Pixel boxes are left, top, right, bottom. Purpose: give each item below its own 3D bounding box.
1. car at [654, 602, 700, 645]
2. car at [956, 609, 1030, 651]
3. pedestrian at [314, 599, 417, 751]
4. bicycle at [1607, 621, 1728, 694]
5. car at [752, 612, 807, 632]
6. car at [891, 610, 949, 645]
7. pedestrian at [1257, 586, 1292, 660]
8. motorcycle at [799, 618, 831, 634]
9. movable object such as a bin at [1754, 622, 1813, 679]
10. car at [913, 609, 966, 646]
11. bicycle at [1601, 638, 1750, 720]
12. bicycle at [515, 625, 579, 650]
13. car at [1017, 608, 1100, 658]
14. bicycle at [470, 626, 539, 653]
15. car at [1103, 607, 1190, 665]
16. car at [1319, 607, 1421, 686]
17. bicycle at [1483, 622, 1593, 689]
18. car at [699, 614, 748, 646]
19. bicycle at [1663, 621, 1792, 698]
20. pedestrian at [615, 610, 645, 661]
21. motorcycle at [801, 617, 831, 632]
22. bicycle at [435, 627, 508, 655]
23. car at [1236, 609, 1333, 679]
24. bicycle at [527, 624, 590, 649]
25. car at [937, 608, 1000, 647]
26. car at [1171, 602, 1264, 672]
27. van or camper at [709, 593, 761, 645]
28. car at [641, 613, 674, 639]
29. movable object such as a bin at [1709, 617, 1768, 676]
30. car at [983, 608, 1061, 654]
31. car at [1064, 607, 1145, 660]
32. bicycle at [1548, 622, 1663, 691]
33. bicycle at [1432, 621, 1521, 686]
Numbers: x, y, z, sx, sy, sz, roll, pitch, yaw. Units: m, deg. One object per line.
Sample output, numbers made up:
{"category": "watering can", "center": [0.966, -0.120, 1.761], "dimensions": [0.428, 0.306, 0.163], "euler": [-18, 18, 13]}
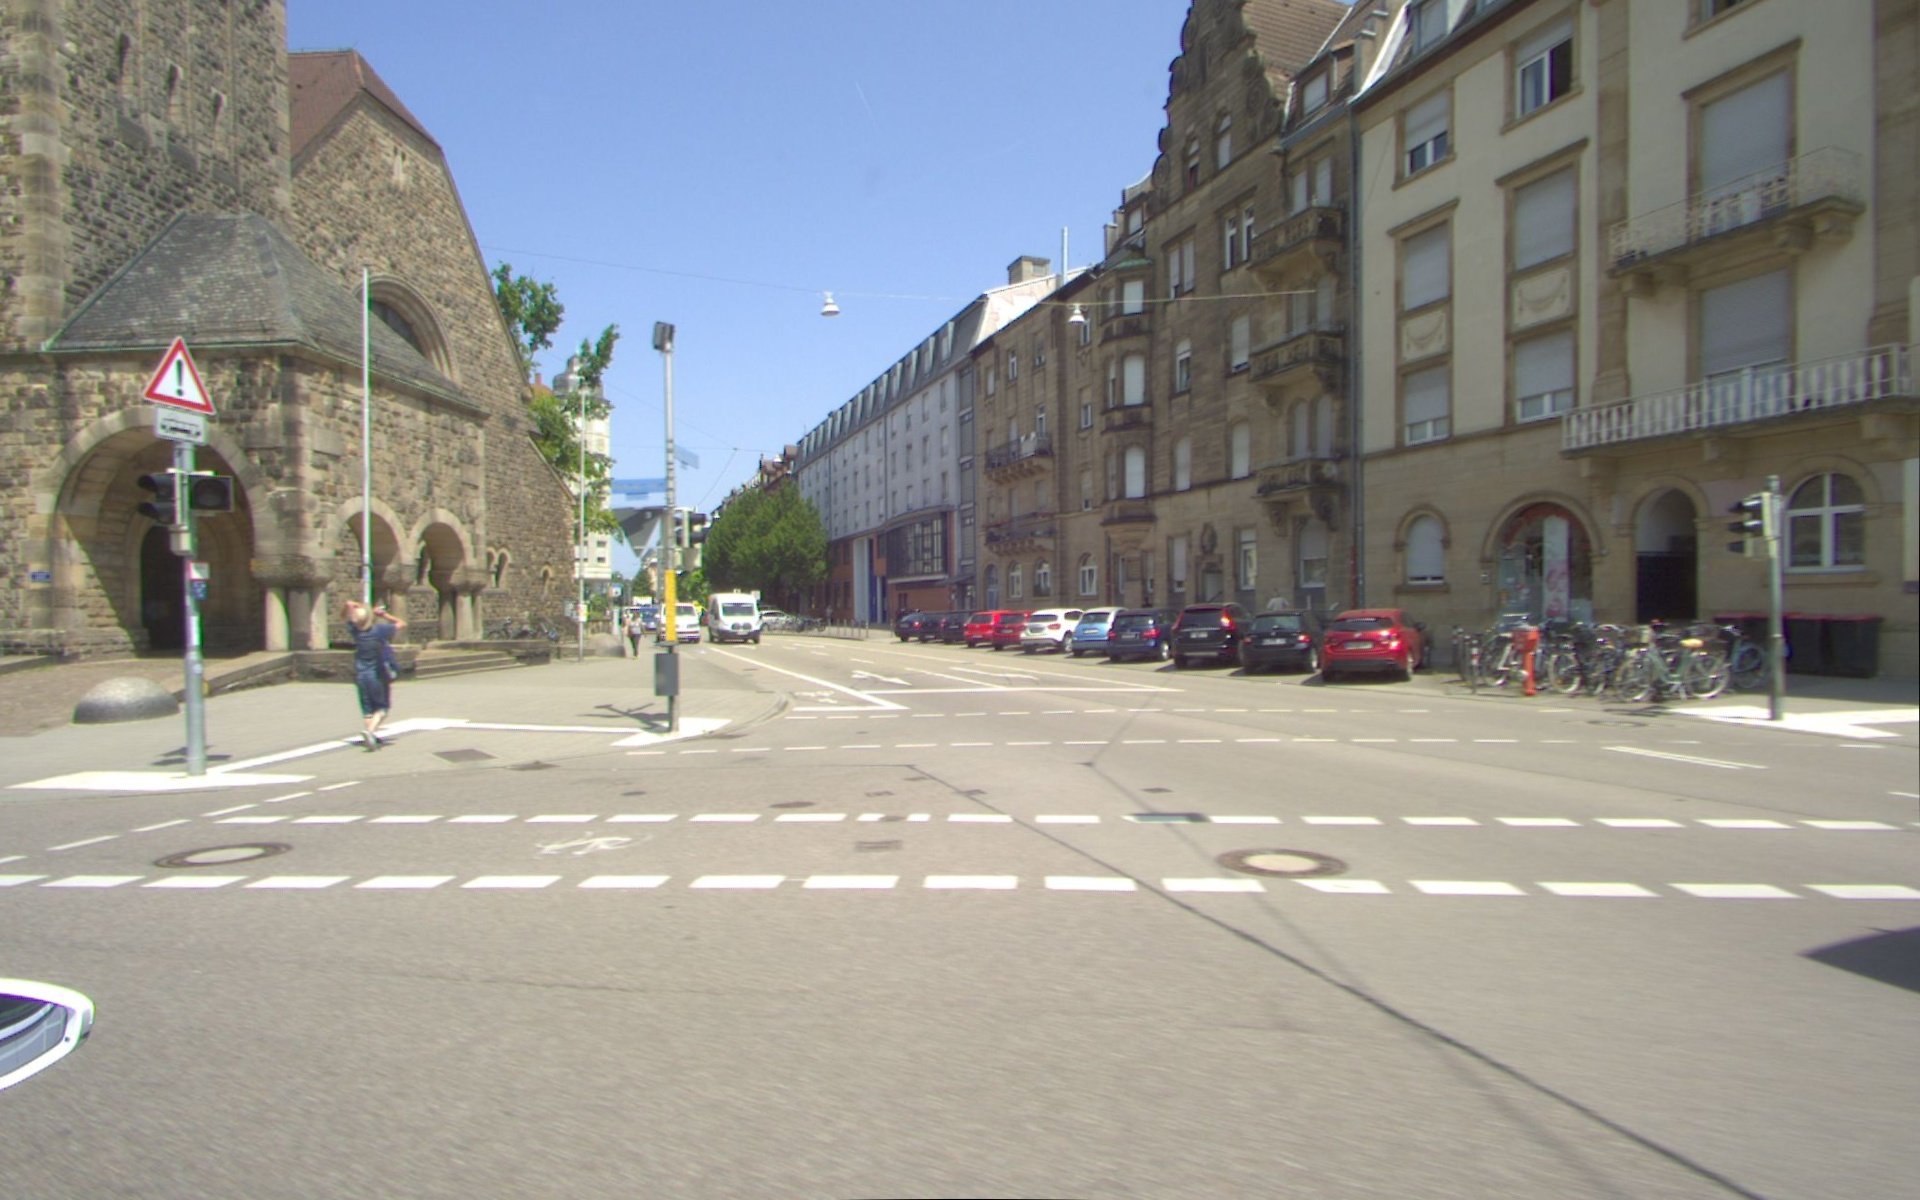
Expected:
{"category": "car", "center": [-14.226, 1.163, 50.176], "dimensions": [2.009, 2.031, 4.958], "euler": [0, -1, -18]}
{"category": "car", "center": [1.427, 1.243, 42.059], "dimensions": [1.595, 1.595, 3.207], "euler": [-3, -1, 34]}
{"category": "pedestrian", "center": [-7.463, 0.925, 12.586], "dimensions": [0.818, 1.846, 0.744], "euler": [-1, 0, 11]}
{"category": "bicycle", "center": [12.215, 0.978, 17.305], "dimensions": [1.770, 1.166, 0.565], "euler": [-2, 0, -7]}
{"category": "car", "center": [-13.928, 1.690, 77.401], "dimensions": [3.961, 1.569, 1.733], "euler": [1, -1, -44]}
{"category": "car", "center": [-1.990, 1.362, 50.202], "dimensions": [1.590, 1.595, 3.217], "euler": [-3, -1, 23]}
{"category": "pedestrian", "center": [9.393, 0.681, 29.937], "dimensions": [0.850, 2.141, 1.100], "euler": [0, 0, 11]}
{"category": "motorcycle", "center": [-9.784, 1.767, 67.615], "dimensions": [2.037, 0.971, 0.742], "euler": [-1, 2, -4]}
{"category": "movable object such as a bin", "center": [14.875, 0.904, 18.089], "dimensions": [0.572, 1.008, 0.590], "euler": [-1, -1, -12]}
{"category": "car", "center": [-0.939, 1.282, 47.584], "dimensions": [1.470, 1.595, 3.220], "euler": [-3, -1, 19]}
{"category": "bicycle", "center": [11.180, 1.220, 15.666], "dimensions": [2.021, 1.166, 0.565], "euler": [-2, 0, -7]}
{"category": "bicycle", "center": [-17.253, 1.557, 41.847], "dimensions": [2.450, 1.025, 0.706], "euler": [0, 0, 6]}
{"category": "car", "center": [3.596, 1.173, 36.292], "dimensions": [1.595, 1.595, 3.207], "euler": [-3, -1, 34]}
{"category": "bicycle", "center": [-17.939, 1.543, 39.485], "dimensions": [2.450, 1.025, 0.706], "euler": [0, 0, 6]}
{"category": "car", "center": [5.729, 1.072, 30.577], "dimensions": [1.593, 1.595, 3.211], "euler": [-3, -1, 30]}
{"category": "car", "center": [8.927, 0.969, 21.688], "dimensions": [1.593, 1.498, 3.211], "euler": [-3, -1, 30]}
{"category": "bicycle", "center": [10.830, 1.030, 18.789], "dimensions": [1.770, 1.166, 0.565], "euler": [-2, 0, -7]}
{"category": "car", "center": [-11.875, 1.468, 50.110], "dimensions": [1.966, 1.476, 3.990], "euler": [0, -1, -20]}
{"category": "bicycle", "center": [12.590, 0.963, 16.446], "dimensions": [1.770, 1.166, 0.565], "euler": [-2, 0, -7]}
{"category": "pedestrian", "center": [-10.468, 1.131, 31.802], "dimensions": [0.707, 1.579, 0.792], "euler": [-1, -1, -3]}
{"category": "motorcycle", "center": [-10.033, 1.678, 69.839], "dimensions": [2.037, 0.971, 0.607], "euler": [-1, 2, -4]}
{"category": "bicycle", "center": [-18.320, 1.529, 37.565], "dimensions": [2.450, 1.025, 0.706], "euler": [0, 0, 6]}
{"category": "car", "center": [8.000, 1.036, 24.520], "dimensions": [1.593, 1.498, 3.211], "euler": [-3, -1, 30]}
{"category": "bicycle", "center": [-17.222, 1.553, 42.931], "dimensions": [2.450, 1.025, 0.706], "euler": [0, 0, 6]}
{"category": "car", "center": [0.412, 1.208, 45.275], "dimensions": [1.591, 1.595, 3.215], "euler": [-3, -1, 25]}
{"category": "car", "center": [7.022, 0.963, 27.110], "dimensions": [1.593, 1.687, 3.211], "euler": [-3, -1, 30]}
{"category": "van or camper", "center": [-11.435, 0.930, 50.621], "dimensions": [2.037, 2.494, 5.890], "euler": [0, 0, -18]}
{"category": "car", "center": [-21.014, 1.805, 69.616], "dimensions": [1.963, 1.750, 3.996], "euler": [0, -1, -13]}
{"category": "movable object such as a bin", "center": [14.623, 0.866, 18.813], "dimensions": [0.658, 1.078, 0.590], "euler": [-1, -1, -12]}
{"category": "car", "center": [2.466, 1.195, 39.135], "dimensions": [1.595, 1.595, 3.207], "euler": [-3, -1, 34]}
{"category": "car", "center": [4.903, 1.093, 33.714], "dimensions": [1.593, 1.595, 3.211], "euler": [-3, -1, 30]}
{"category": "bicycle", "center": [11.646, 1.003, 18.085], "dimensions": [1.770, 1.166, 0.565], "euler": [-2, 0, -7]}
{"category": "bicycle", "center": [10.056, 1.023, 19.483], "dimensions": [1.777, 1.166, 0.563], "euler": [-2, 0, -26]}
